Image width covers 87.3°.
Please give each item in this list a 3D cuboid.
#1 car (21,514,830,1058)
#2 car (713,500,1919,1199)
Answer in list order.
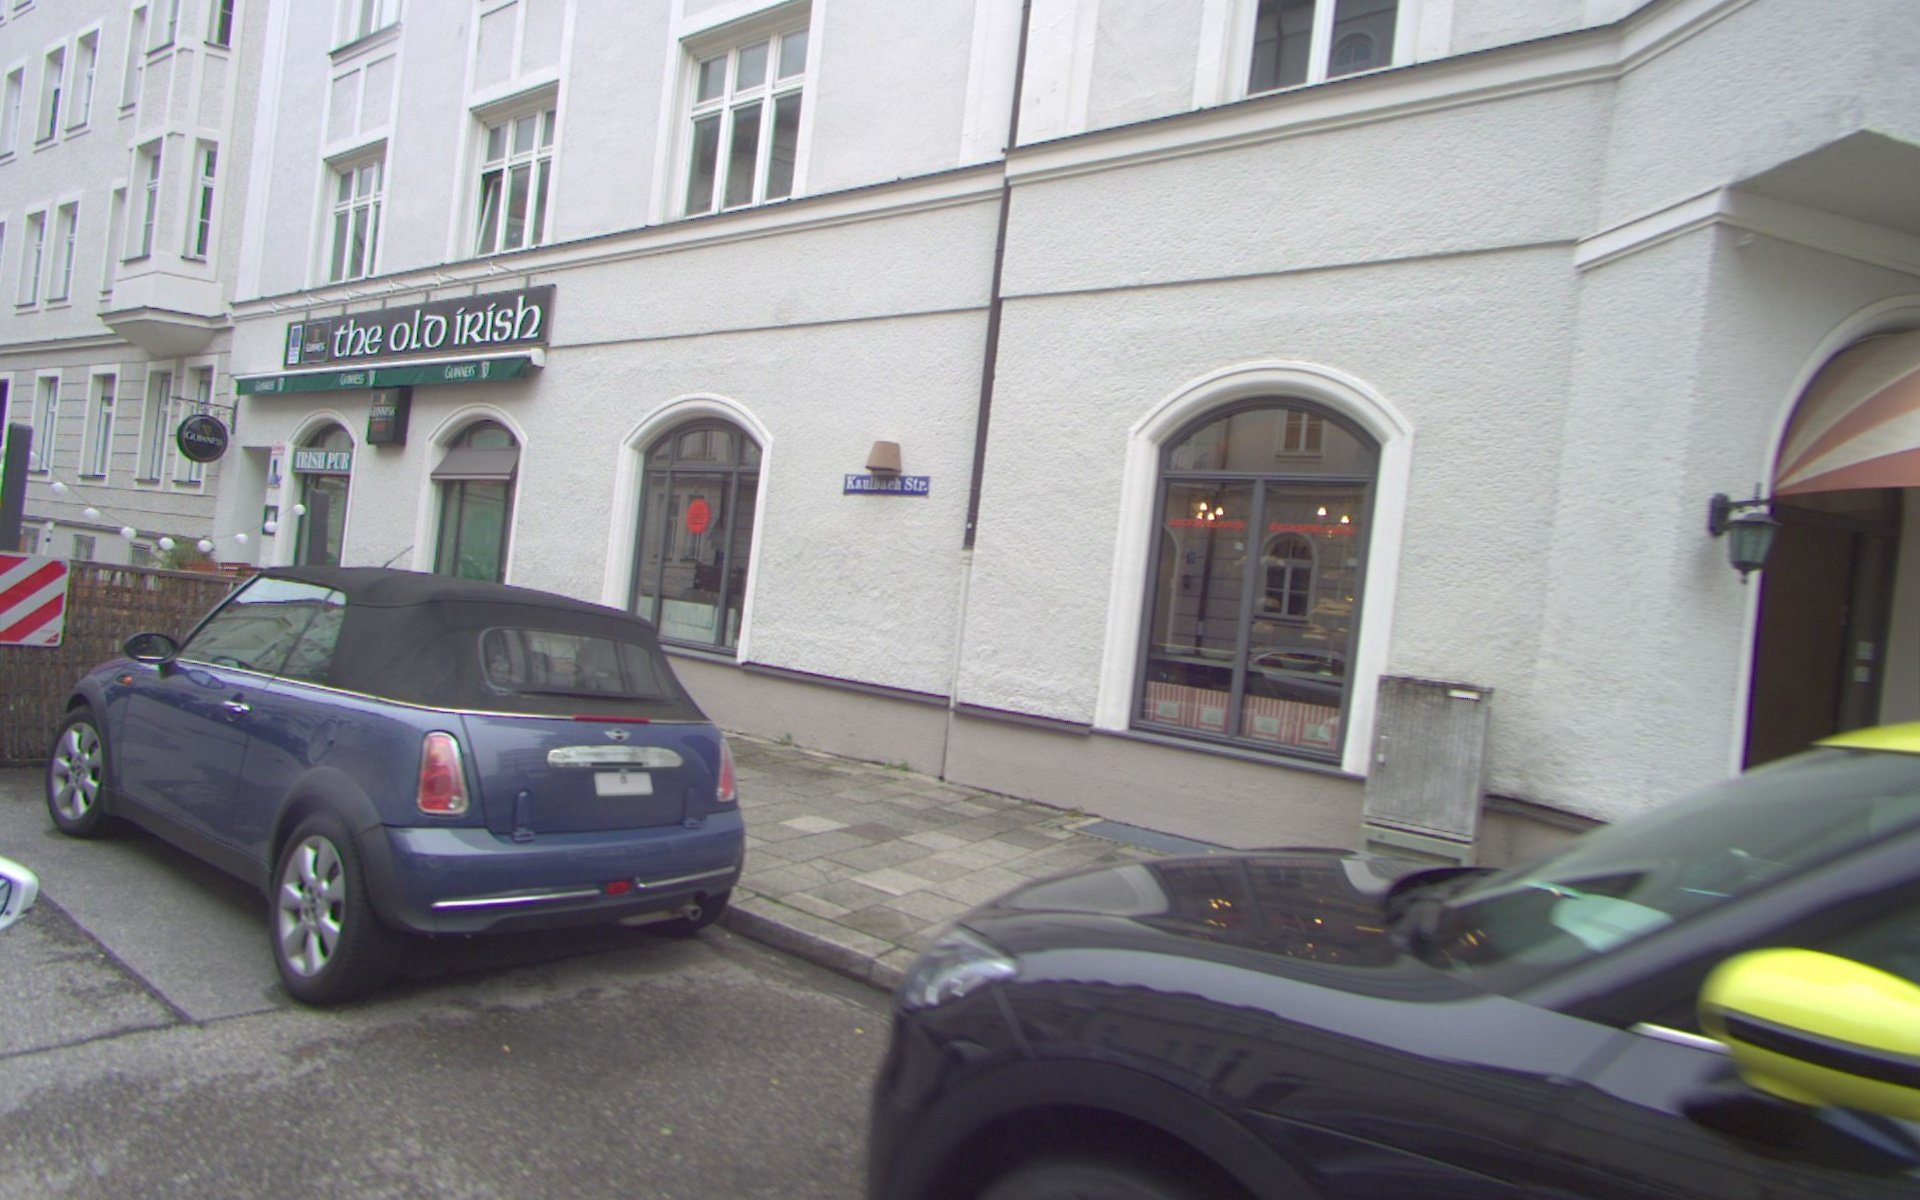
[{"bbox_3d":[-2.514,0.554,4.548,3.436,1.415,1.670,7,-3,34],"label":"car"},{"bbox_3d":[1.762,0.927,1.581,4.028,1.636,1.840,7,-3,33],"label":"car"}]
